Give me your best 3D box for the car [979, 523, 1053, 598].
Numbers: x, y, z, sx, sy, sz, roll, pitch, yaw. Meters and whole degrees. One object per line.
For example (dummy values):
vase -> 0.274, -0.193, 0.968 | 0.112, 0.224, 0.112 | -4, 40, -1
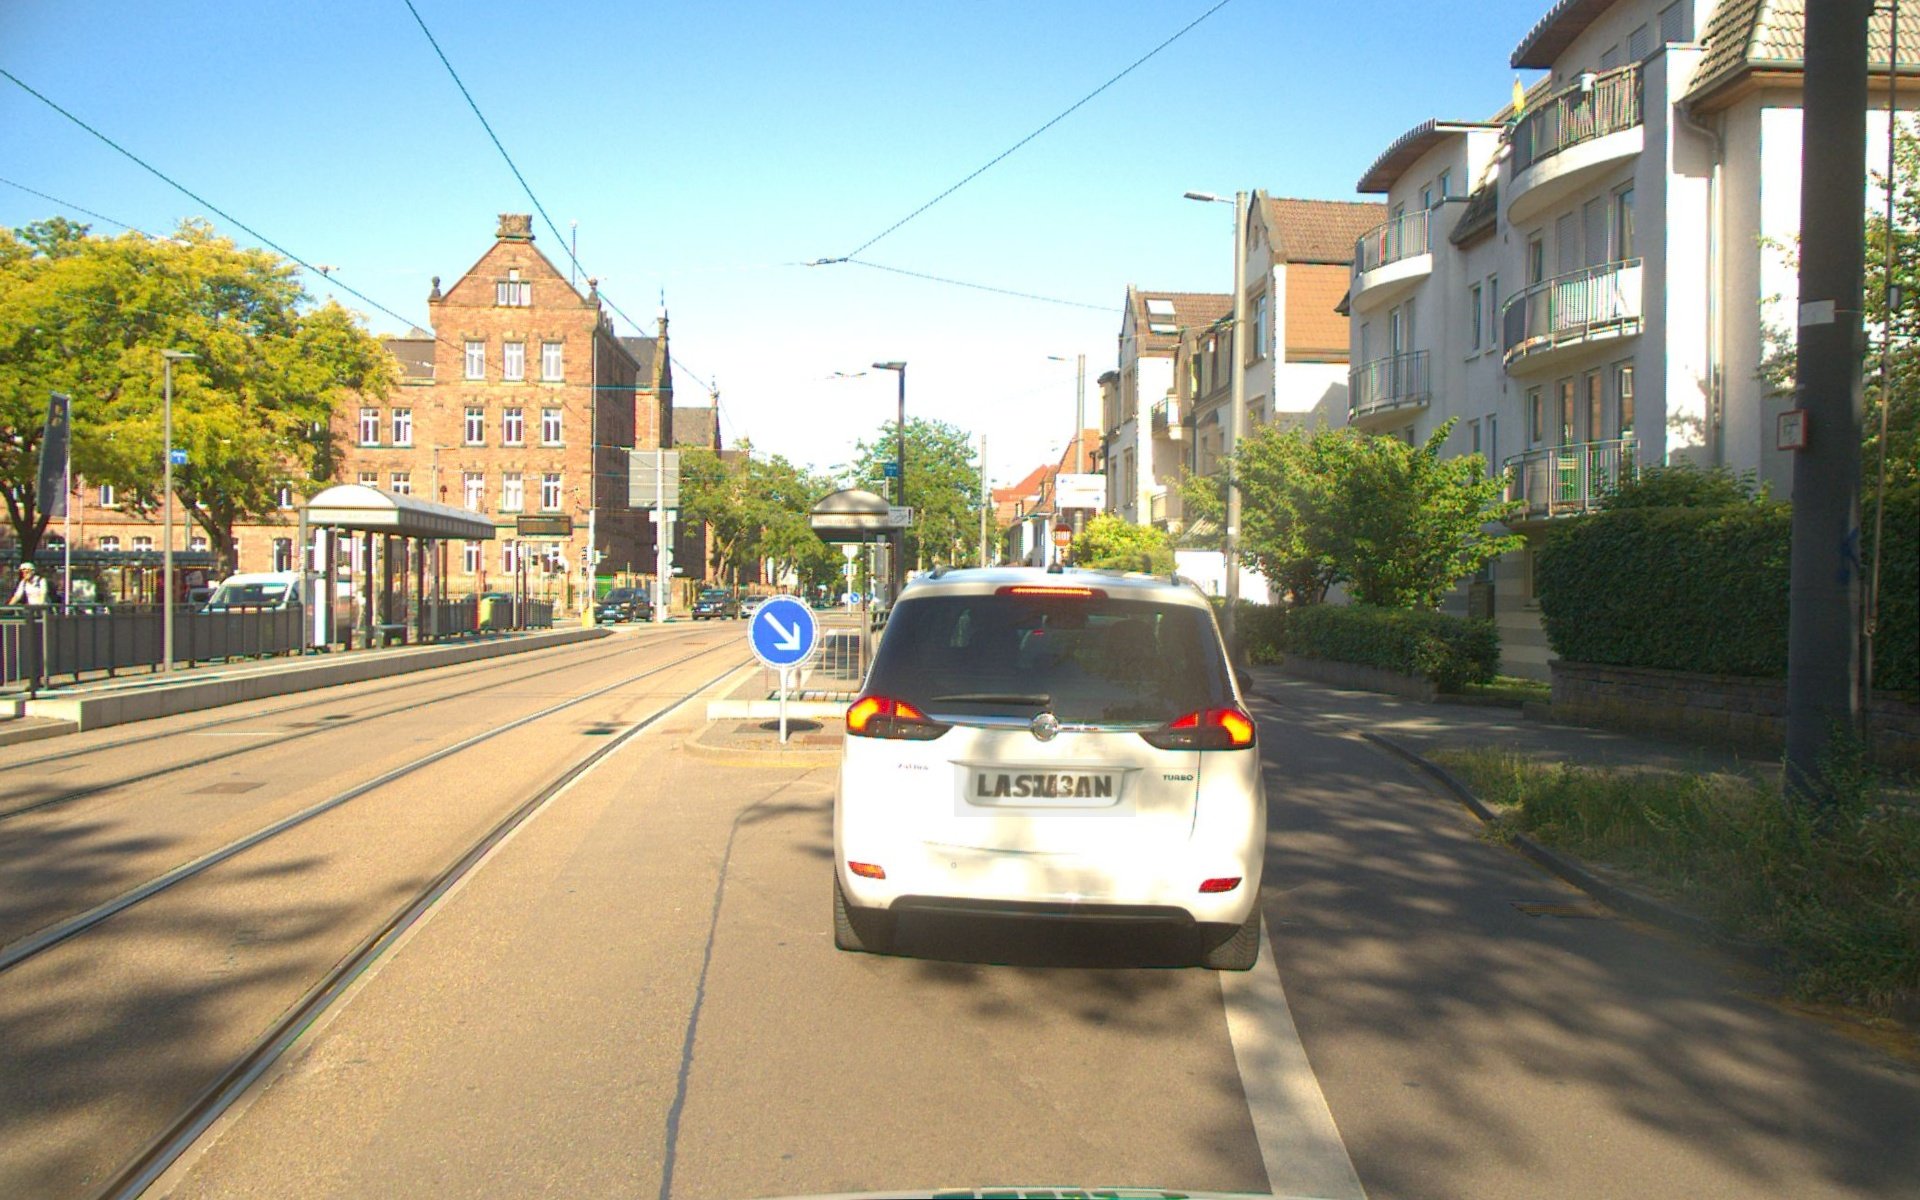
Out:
car -> 1.312, -0.951, 40.049 | 1.563, 1.663, 3.901 | 2, 1, -1

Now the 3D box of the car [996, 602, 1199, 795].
car -> 1.225, 0.765, 14.788 | 1.536, 1.426, 3.786 | 2, 0, 5

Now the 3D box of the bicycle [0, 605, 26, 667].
bicycle -> -17.569, 0.651, 29.571 | 0.655, 1.091, 2.014 | 1, 1, -3

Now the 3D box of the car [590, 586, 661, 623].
car -> -15.256, 0.237, 75.657 | 1.788, 1.645, 4.331 | 1, -1, 8

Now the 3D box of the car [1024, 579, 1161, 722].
car -> 1.655, 0.586, 21.607 | 1.537, 1.643, 3.785 | 2, 0, 2

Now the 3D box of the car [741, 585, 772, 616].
car -> -12.708, 0.047, 103.442 | 1.791, 1.819, 4.322 | 1, -1, -5

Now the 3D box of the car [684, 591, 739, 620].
car -> -13.330, 0.308, 89.019 | 1.788, 1.471, 4.330 | 1, -1, 8

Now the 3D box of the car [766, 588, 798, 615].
car -> -13.844, 0.129, 128.823 | 1.952, 2.049, 4.000 | 1, 0, 0

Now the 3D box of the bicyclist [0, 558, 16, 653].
bicyclist -> -17.570, 0.098, 29.597 | 0.637, 1.703, 1.232 | 2, 1, -3

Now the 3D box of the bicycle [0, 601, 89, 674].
bicycle -> -16.597, 0.656, 29.829 | 0.761, 1.252, 2.087 | 0, 0, -3

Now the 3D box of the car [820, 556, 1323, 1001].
car -> 0.565, 0.638, 8.082 | 1.838, 1.613, 4.002 | 0, 0, 5

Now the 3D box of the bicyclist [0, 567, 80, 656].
bicyclist -> -16.595, 0.195, 29.839 | 0.745, 1.563, 1.347 | 0, 0, -3

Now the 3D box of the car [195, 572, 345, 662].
car -> -14.824, 0.332, 35.767 | 1.791, 1.819, 4.250 | 0, 0, -6

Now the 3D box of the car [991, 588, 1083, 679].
car -> 1.512, 0.629, 33.490 | 1.563, 1.663, 3.900 | 2, 0, -1
